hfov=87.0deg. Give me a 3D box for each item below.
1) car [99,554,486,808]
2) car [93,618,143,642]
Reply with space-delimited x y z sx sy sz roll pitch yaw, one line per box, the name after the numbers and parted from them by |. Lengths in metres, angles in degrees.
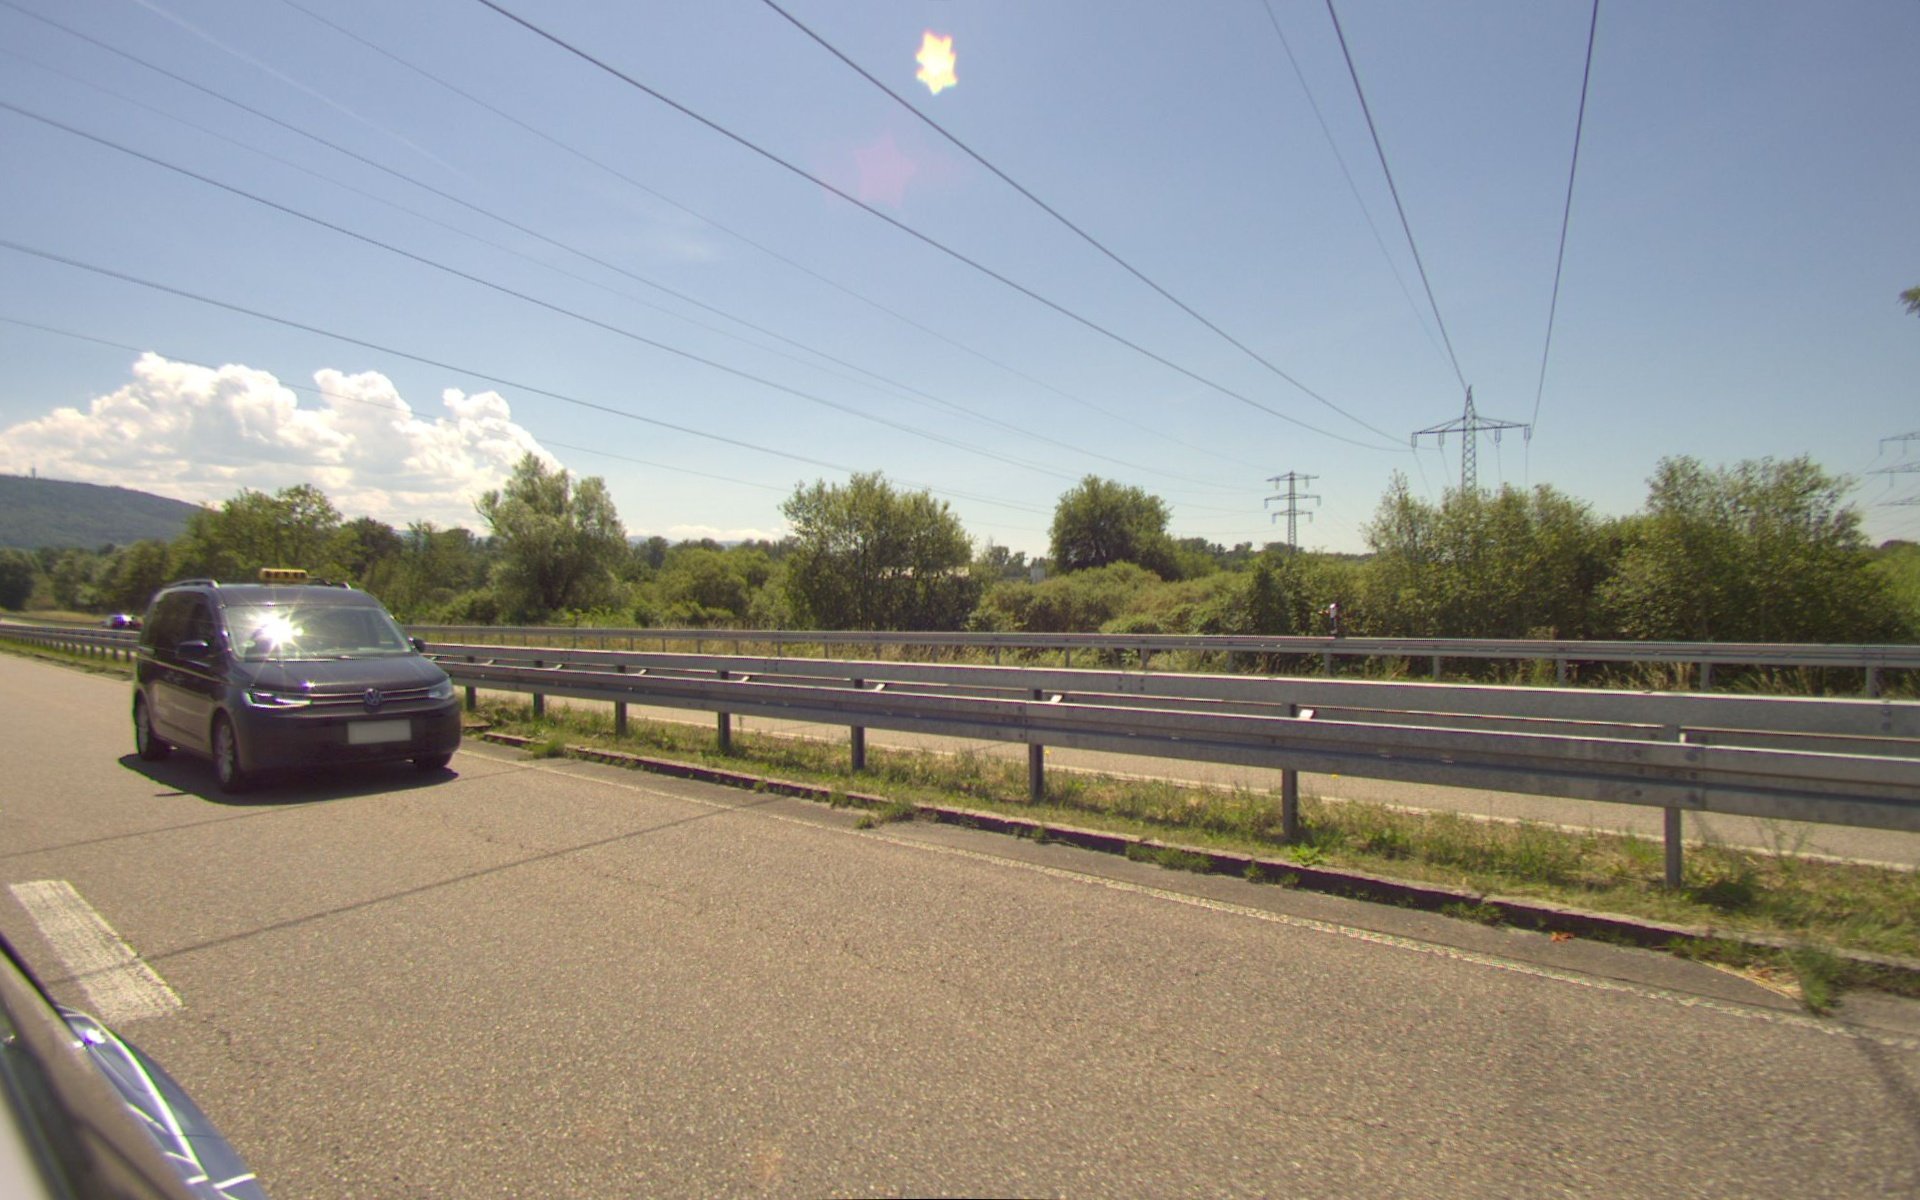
-6.894 0.638 10.120 5.570 1.901 1.835 -1 -1 41 | car
-54.846 1.928 65.871 4.679 1.423 1.825 -1 0 42 | car
